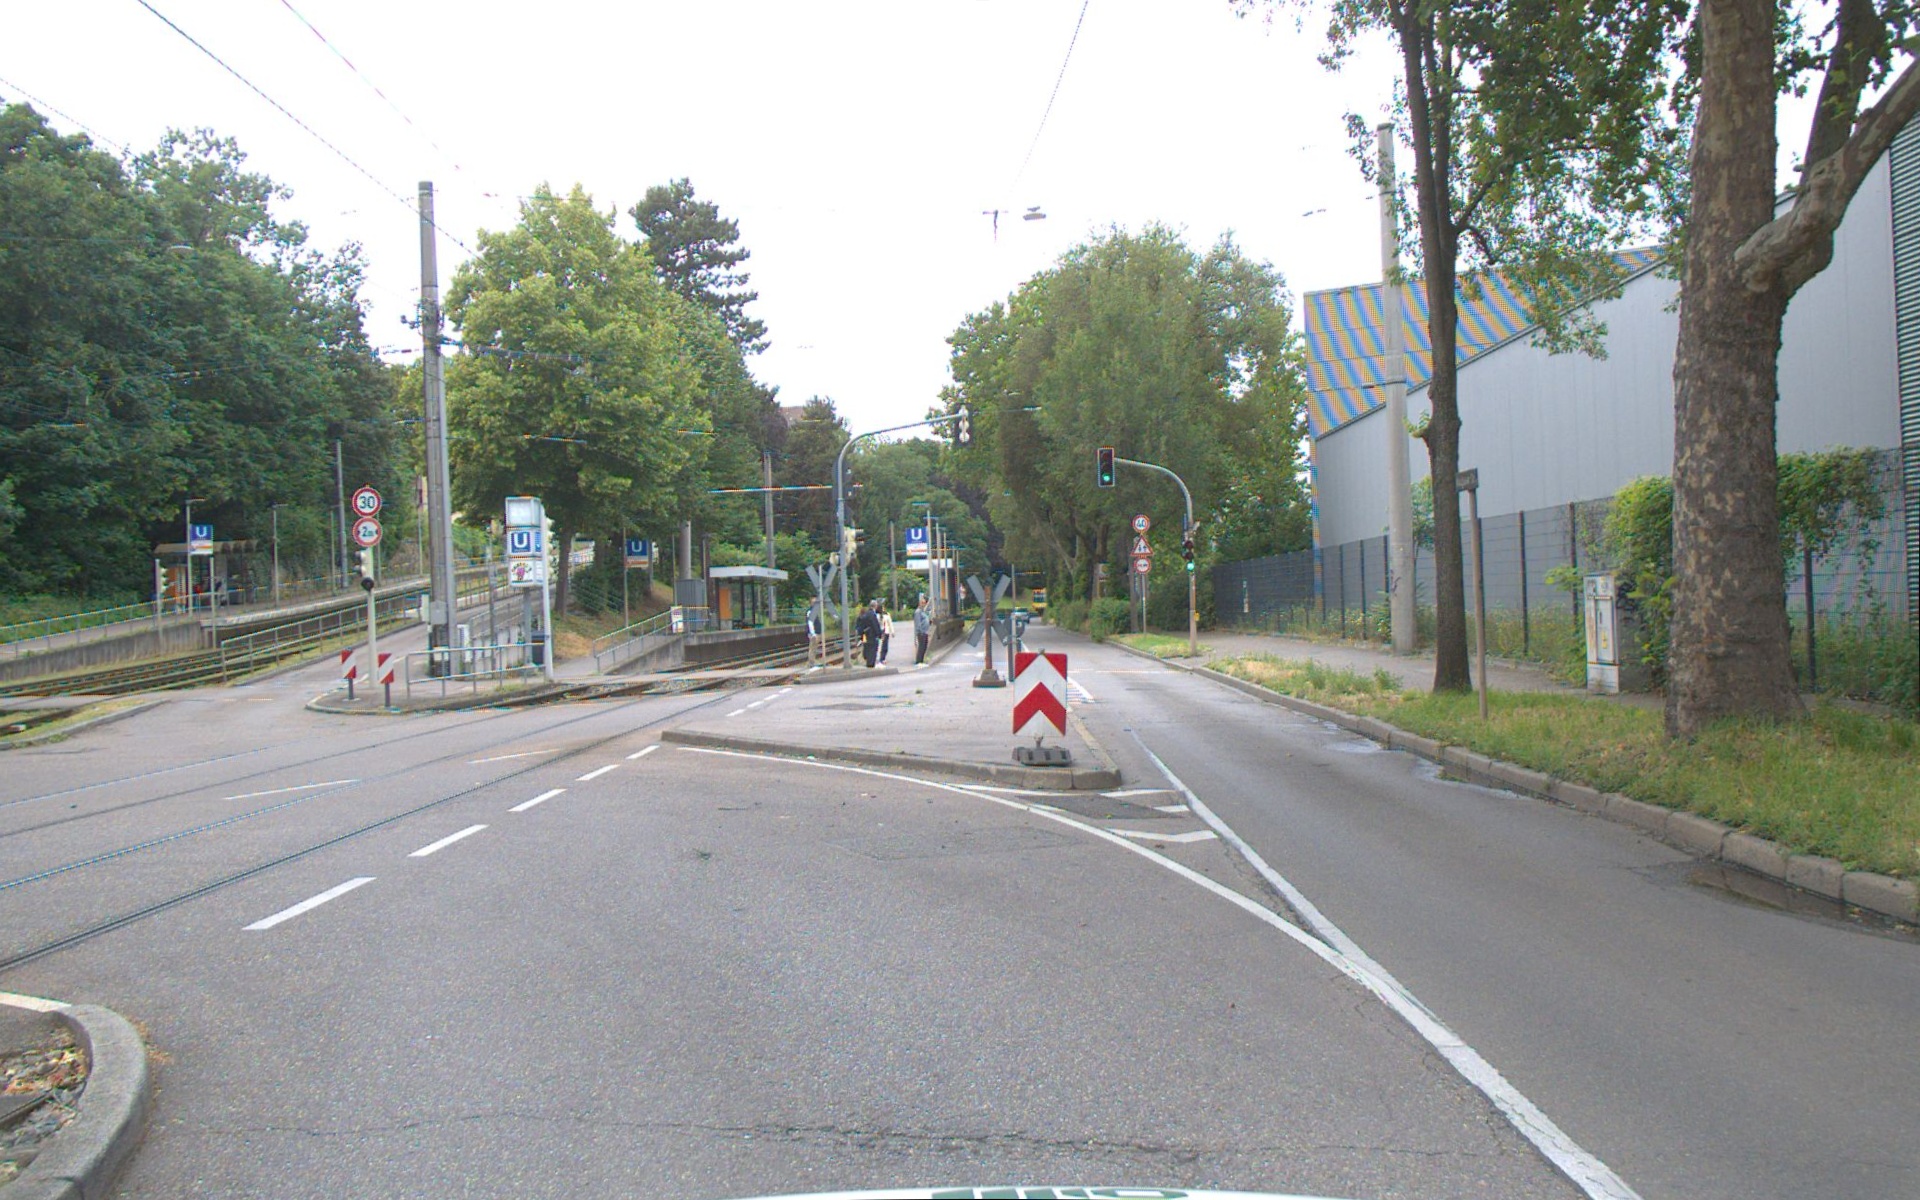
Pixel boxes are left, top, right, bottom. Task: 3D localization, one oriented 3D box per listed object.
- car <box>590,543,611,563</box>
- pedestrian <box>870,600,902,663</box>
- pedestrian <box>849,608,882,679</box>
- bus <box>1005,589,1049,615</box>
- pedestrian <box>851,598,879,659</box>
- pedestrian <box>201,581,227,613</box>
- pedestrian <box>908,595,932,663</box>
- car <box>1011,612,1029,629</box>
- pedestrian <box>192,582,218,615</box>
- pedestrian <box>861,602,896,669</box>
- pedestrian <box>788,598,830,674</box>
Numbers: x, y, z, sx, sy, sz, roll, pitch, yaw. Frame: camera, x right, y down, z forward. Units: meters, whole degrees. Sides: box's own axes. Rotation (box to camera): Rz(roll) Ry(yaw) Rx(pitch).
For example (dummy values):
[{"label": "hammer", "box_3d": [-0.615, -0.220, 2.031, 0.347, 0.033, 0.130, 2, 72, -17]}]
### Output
[{"label": "car", "box_3d": [-41.245, -5.401, 189.937, 1.955, 2.183, 3.994, 1, -1, -7]}, {"label": "pedestrian", "box_3d": [-2.018, 0.853, 45.181, 0.665, 1.694, 0.738, 0, -1, 14]}, {"label": "pedestrian", "box_3d": [-2.284, 1.047, 39.977, 0.720, 1.694, 0.682, 0, -1, 2]}, {"label": "bus", "box_3d": [9.495, 0.314, 233.350, 2.682, 3.690, 8.928, 0, -1, 28]}, {"label": "pedestrian", "box_3d": [-2.679, 0.796, 46.705, 0.721, 1.694, 0.680, 1, -1, -10]}, {"label": "pedestrian", "box_3d": [-31.311, -0.132, 69.433, 0.757, 1.349, 0.786, 1, -1, -7]}, {"label": "pedestrian", "box_3d": [-1.058, 0.763, 43.767, 0.538, 1.789, 0.738, 0, -1, 5]}, {"label": "car", "box_3d": [6.047, 2.069, 167.710, 1.708, 1.627, 4.000, 0, 0, 1]}, {"label": "pedestrian", "box_3d": [-31.167, -0.061, 68.291, 0.757, 1.349, 0.786, 1, 2, -7]}, {"label": "pedestrian", "box_3d": [-2.086, 0.899, 42.473, 0.665, 1.694, 0.738, 0, -1, 16]}, {"label": "pedestrian", "box_3d": [-3.696, 0.875, 40.412, 0.796, 1.853, 0.662, 1, -1, -36]}]
